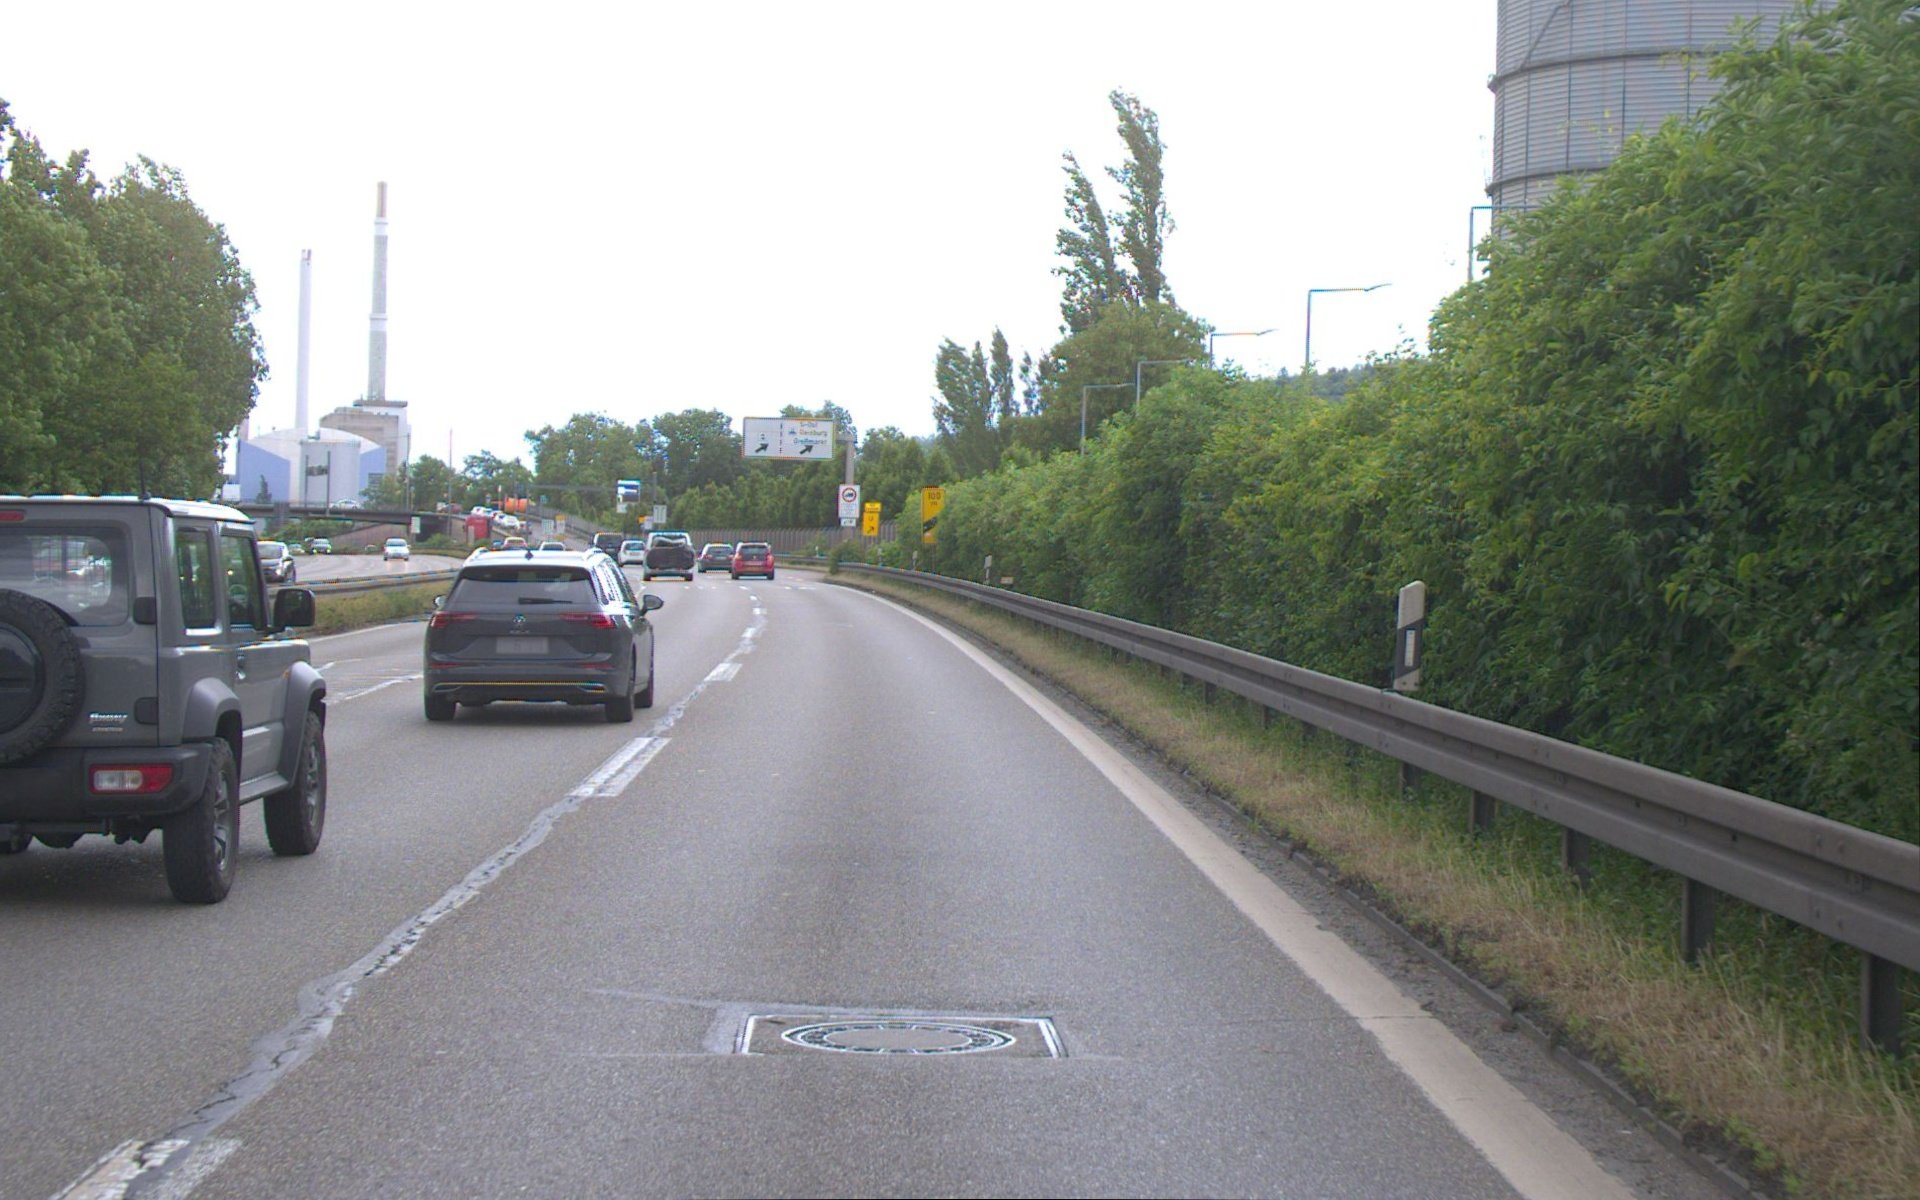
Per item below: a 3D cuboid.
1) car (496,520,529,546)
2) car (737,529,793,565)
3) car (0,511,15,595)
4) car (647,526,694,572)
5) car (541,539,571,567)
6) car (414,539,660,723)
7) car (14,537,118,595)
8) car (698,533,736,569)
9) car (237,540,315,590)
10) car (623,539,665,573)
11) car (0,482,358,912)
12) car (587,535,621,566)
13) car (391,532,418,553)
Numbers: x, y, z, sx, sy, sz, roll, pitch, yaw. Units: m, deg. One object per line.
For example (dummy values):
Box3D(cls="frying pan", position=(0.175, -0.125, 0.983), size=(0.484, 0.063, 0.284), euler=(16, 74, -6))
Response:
Box3D(cls="car", position=(-33.671, -5.062, 258.813), size=(2.013, 1.927, 4.902), euler=(0, 1, -13))
Box3D(cls="car", position=(-8.098, -2.203, 142.570), size=(1.974, 1.418, 4.902), euler=(1, 1, -7))
Box3D(cls="car", position=(-22.066, -1.037, 75.381), size=(1.610, 1.877, 4.562), euler=(1, 1, -2))
Box3D(cls="car", position=(-11.235, -1.985, 133.210), size=(1.697, 1.736, 4.001), euler=(1, 1, -6))
Box3D(cls="car", position=(-25.667, -2.985, 218.302), size=(1.697, 1.736, 4.394), euler=(0, 1, -10))
Box3D(cls="car", position=(-3.632, 0.208, 30.228), size=(1.844, 1.418, 4.901), euler=(2, 1, -4))
Box3D(cls="car", position=(-23.361, -0.893, 89.950), size=(1.717, 1.460, 4.381), euler=(1, 1, -2))
Box3D(cls="car", position=(-11.959, -2.432, 169.161), size=(1.697, 1.736, 4.394), euler=(0, 1, -6))
Box3D(cls="car", position=(-20.111, -1.049, 101.250), size=(1.660, 1.419, 3.912), euler=(1, 1, -2))
Box3D(cls="car", position=(-18.250, -2.542, 198.231), size=(2.013, 1.927, 4.902), euler=(0, 1, -10))
Box3D(cls="car", position=(-3.835, 0.342, 15.410), size=(1.697, 1.680, 4.001), euler=(0, 1, -2))
Box3D(cls="car", position=(-22.567, -3.135, 217.747), size=(2.013, 1.927, 4.902), euler=(1, 1, -7))
Box3D(cls="car", position=(-38.301, -3.959, 237.144), size=(1.614, 1.381, 3.733), euler=(1, 1, -6))
